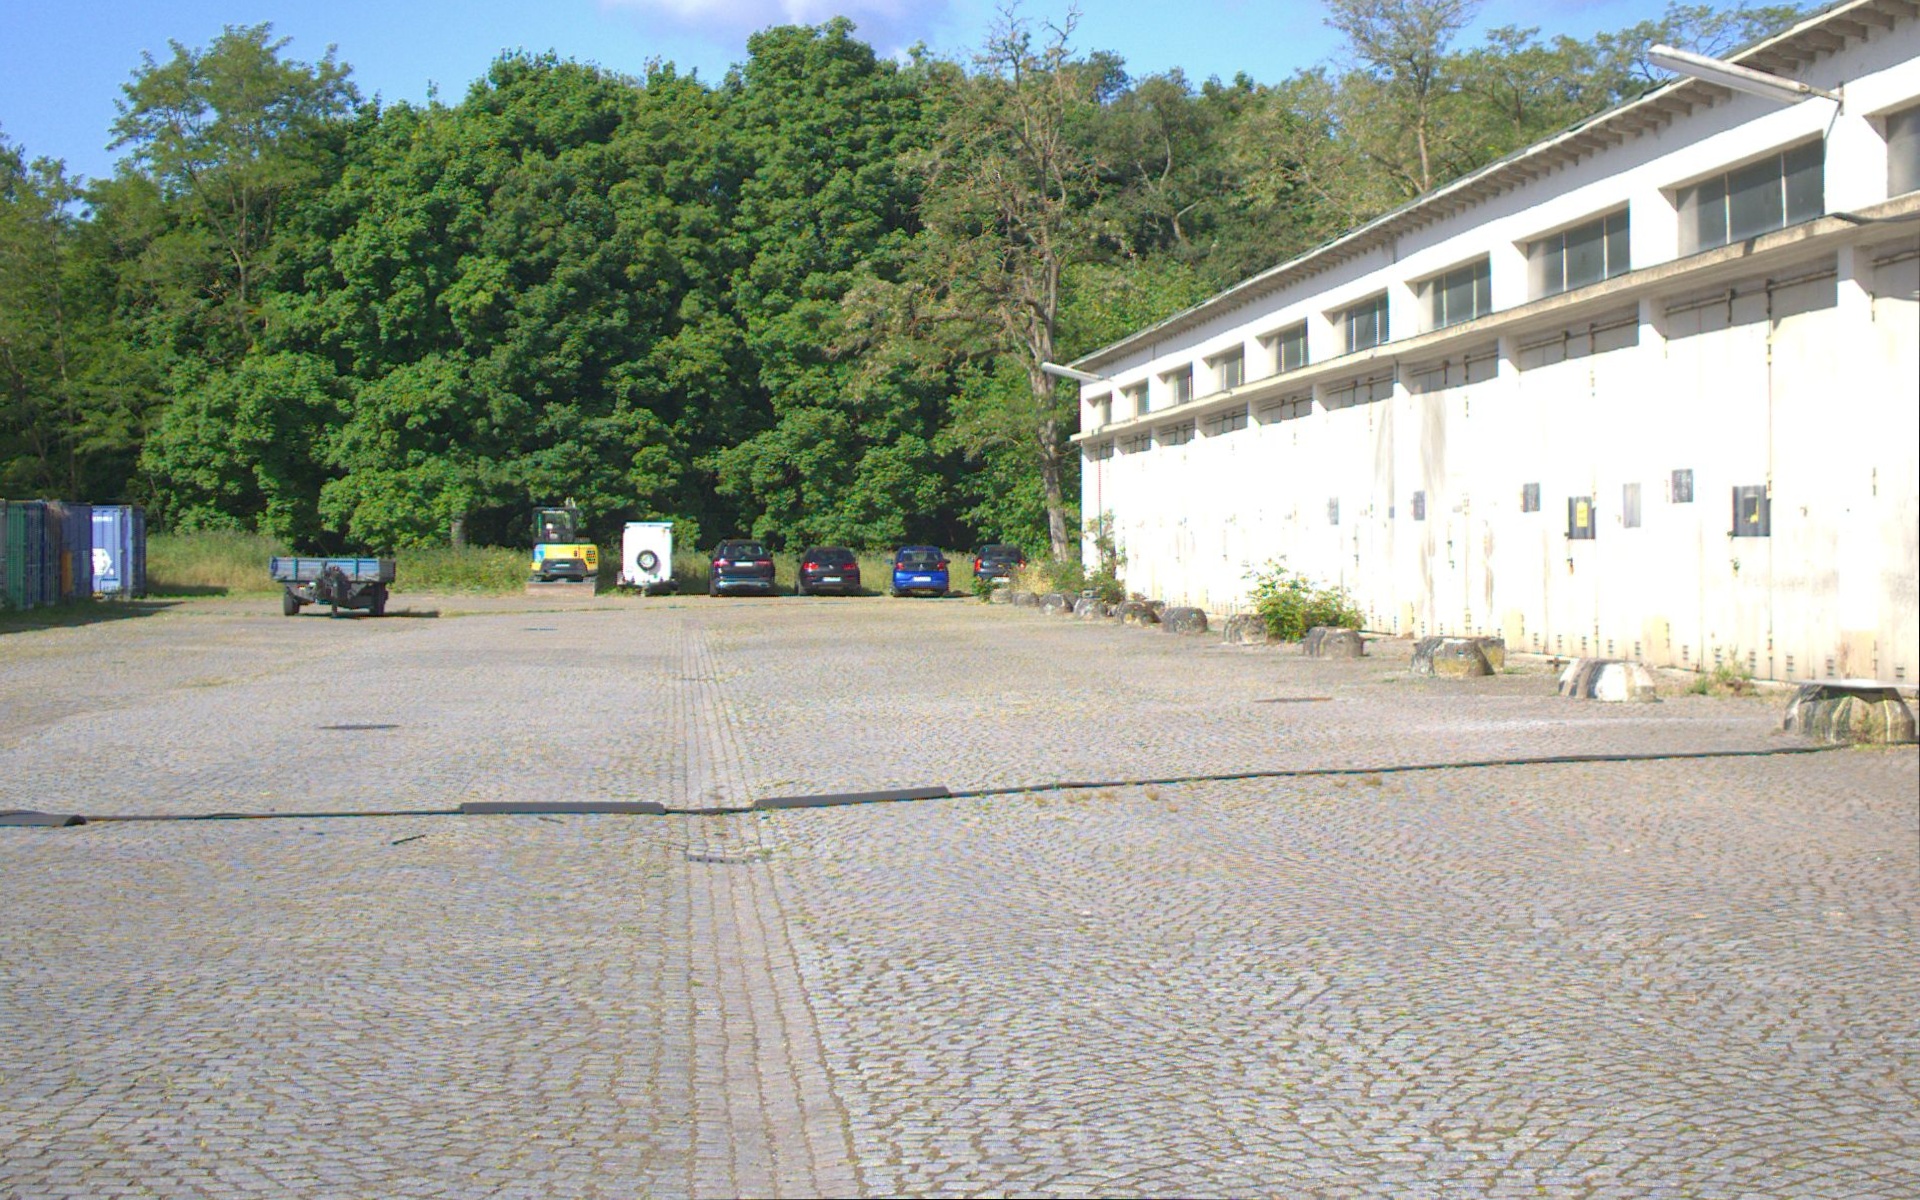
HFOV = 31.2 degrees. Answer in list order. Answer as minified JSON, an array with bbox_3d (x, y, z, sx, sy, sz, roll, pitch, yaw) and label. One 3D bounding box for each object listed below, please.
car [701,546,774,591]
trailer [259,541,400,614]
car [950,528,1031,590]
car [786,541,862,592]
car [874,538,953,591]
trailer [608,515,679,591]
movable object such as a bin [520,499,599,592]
[{"bbox_3d":[-6.440,-0.917,99.034,1.993,1.254,4.001,-1,1,-5],"label":"car"},{"bbox_3d":[-14.791,-0.553,81.023,2.791,1.640,5.622,-1,1,-6],"label":"trailer"},{"bbox_3d":[0.884,-1.215,101.203,1.993,1.766,4.001,-1,1,-5],"label":"car"},{"bbox_3d":[-3.951,-0.978,99.599,1.993,1.419,4.001,-1,1,-5],"label":"car"},{"bbox_3d":[-1.366,-1.047,99.785,1.993,1.461,4.001,-1,1,-5],"label":"car"},{"bbox_3d":[-9.210,-1.380,100.053,1.993,2.155,4.432,-1,1,-5],"label":"trailer"},{"bbox_3d":[-11.733,-1.612,100.616,2.231,2.648,4.001,-1,1,-7],"label":"movable object such as a bin"}]
